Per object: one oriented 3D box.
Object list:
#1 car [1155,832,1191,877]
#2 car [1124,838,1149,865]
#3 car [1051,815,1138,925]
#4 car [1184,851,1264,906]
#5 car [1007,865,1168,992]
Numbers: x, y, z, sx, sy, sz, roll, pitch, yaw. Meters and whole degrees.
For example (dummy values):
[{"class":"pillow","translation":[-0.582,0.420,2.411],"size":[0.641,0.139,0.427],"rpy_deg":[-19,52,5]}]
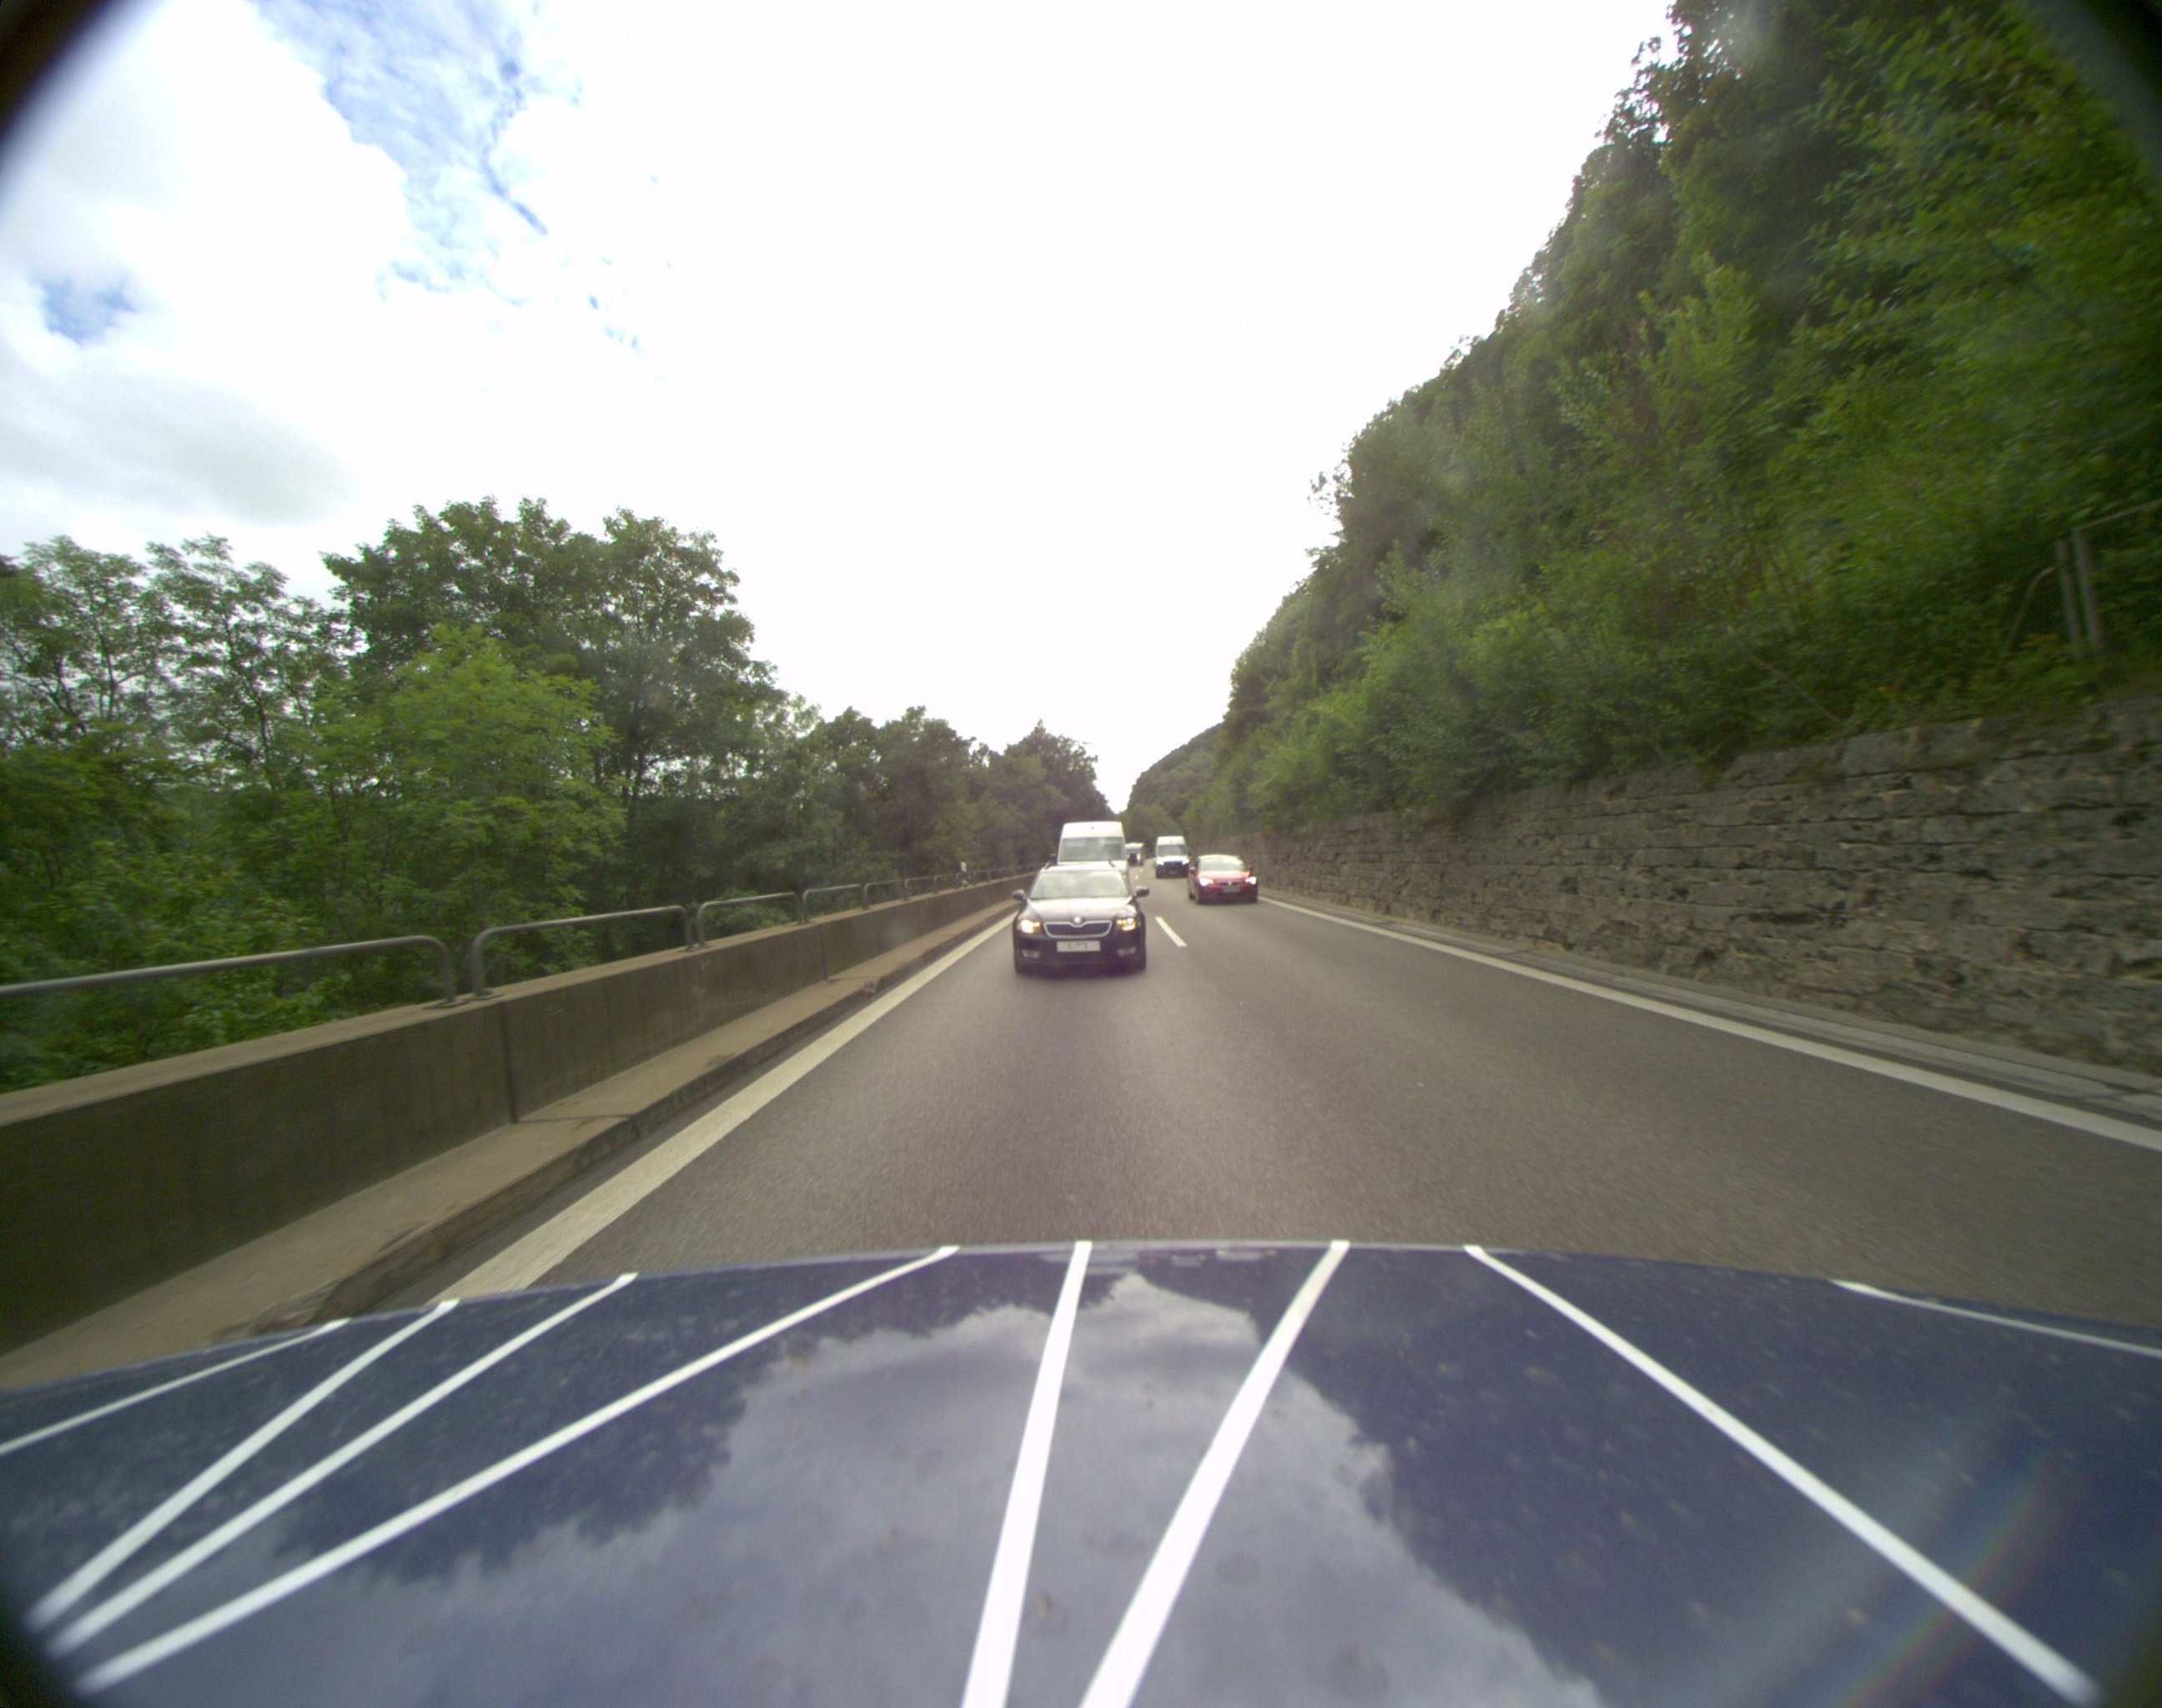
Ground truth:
[{"class":"car","translation":[5.729,0.004,48.007],"size":[2.030,2.570,6.276],"rpy_deg":[-2,0,5]},{"class":"car","translation":[6.650,-0.313,90.137],"size":[2.275,2.941,7.190],"rpy_deg":[-2,0,9]},{"class":"car","translation":[0.440,0.359,21.097],"size":[1.998,2.550,5.918],"rpy_deg":[-2,0,2]},{"class":"car","translation":[4.280,0.686,23.389],"size":[1.770,1.451,4.411],"rpy_deg":[-2,0,3]},{"class":"car","translation":[-0.131,0.936,12.008],"size":[1.914,1.391,5.694],"rpy_deg":[-2,0,-4]}]
